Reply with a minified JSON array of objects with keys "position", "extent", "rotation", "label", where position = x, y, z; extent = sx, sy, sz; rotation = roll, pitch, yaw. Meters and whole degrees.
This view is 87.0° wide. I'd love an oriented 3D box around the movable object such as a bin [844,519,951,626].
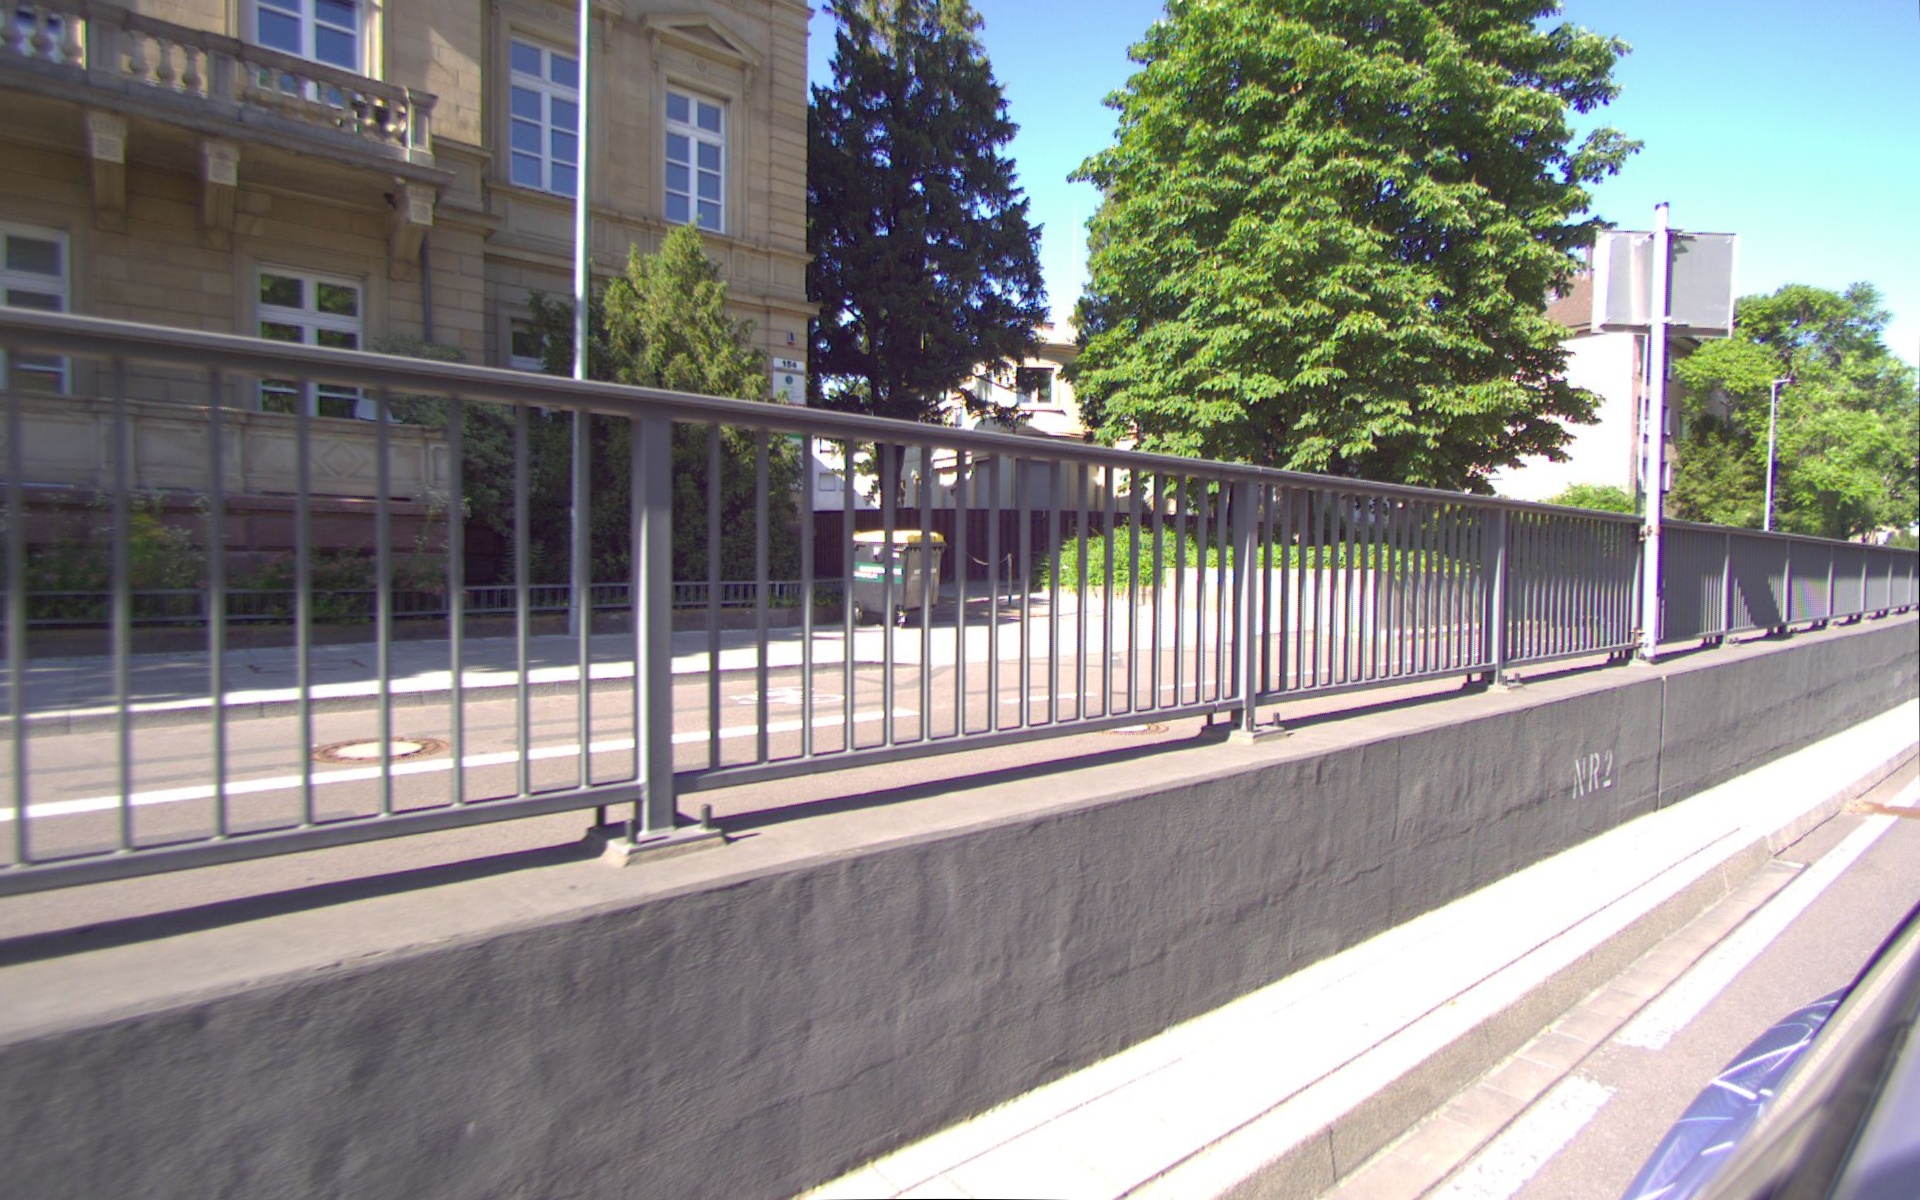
[{"position":[-0.872,-0.399,14.433],"extent":[0.965,1.415,1.276],"rotation":[3,3,27],"label":"movable object such as a bin"}]
